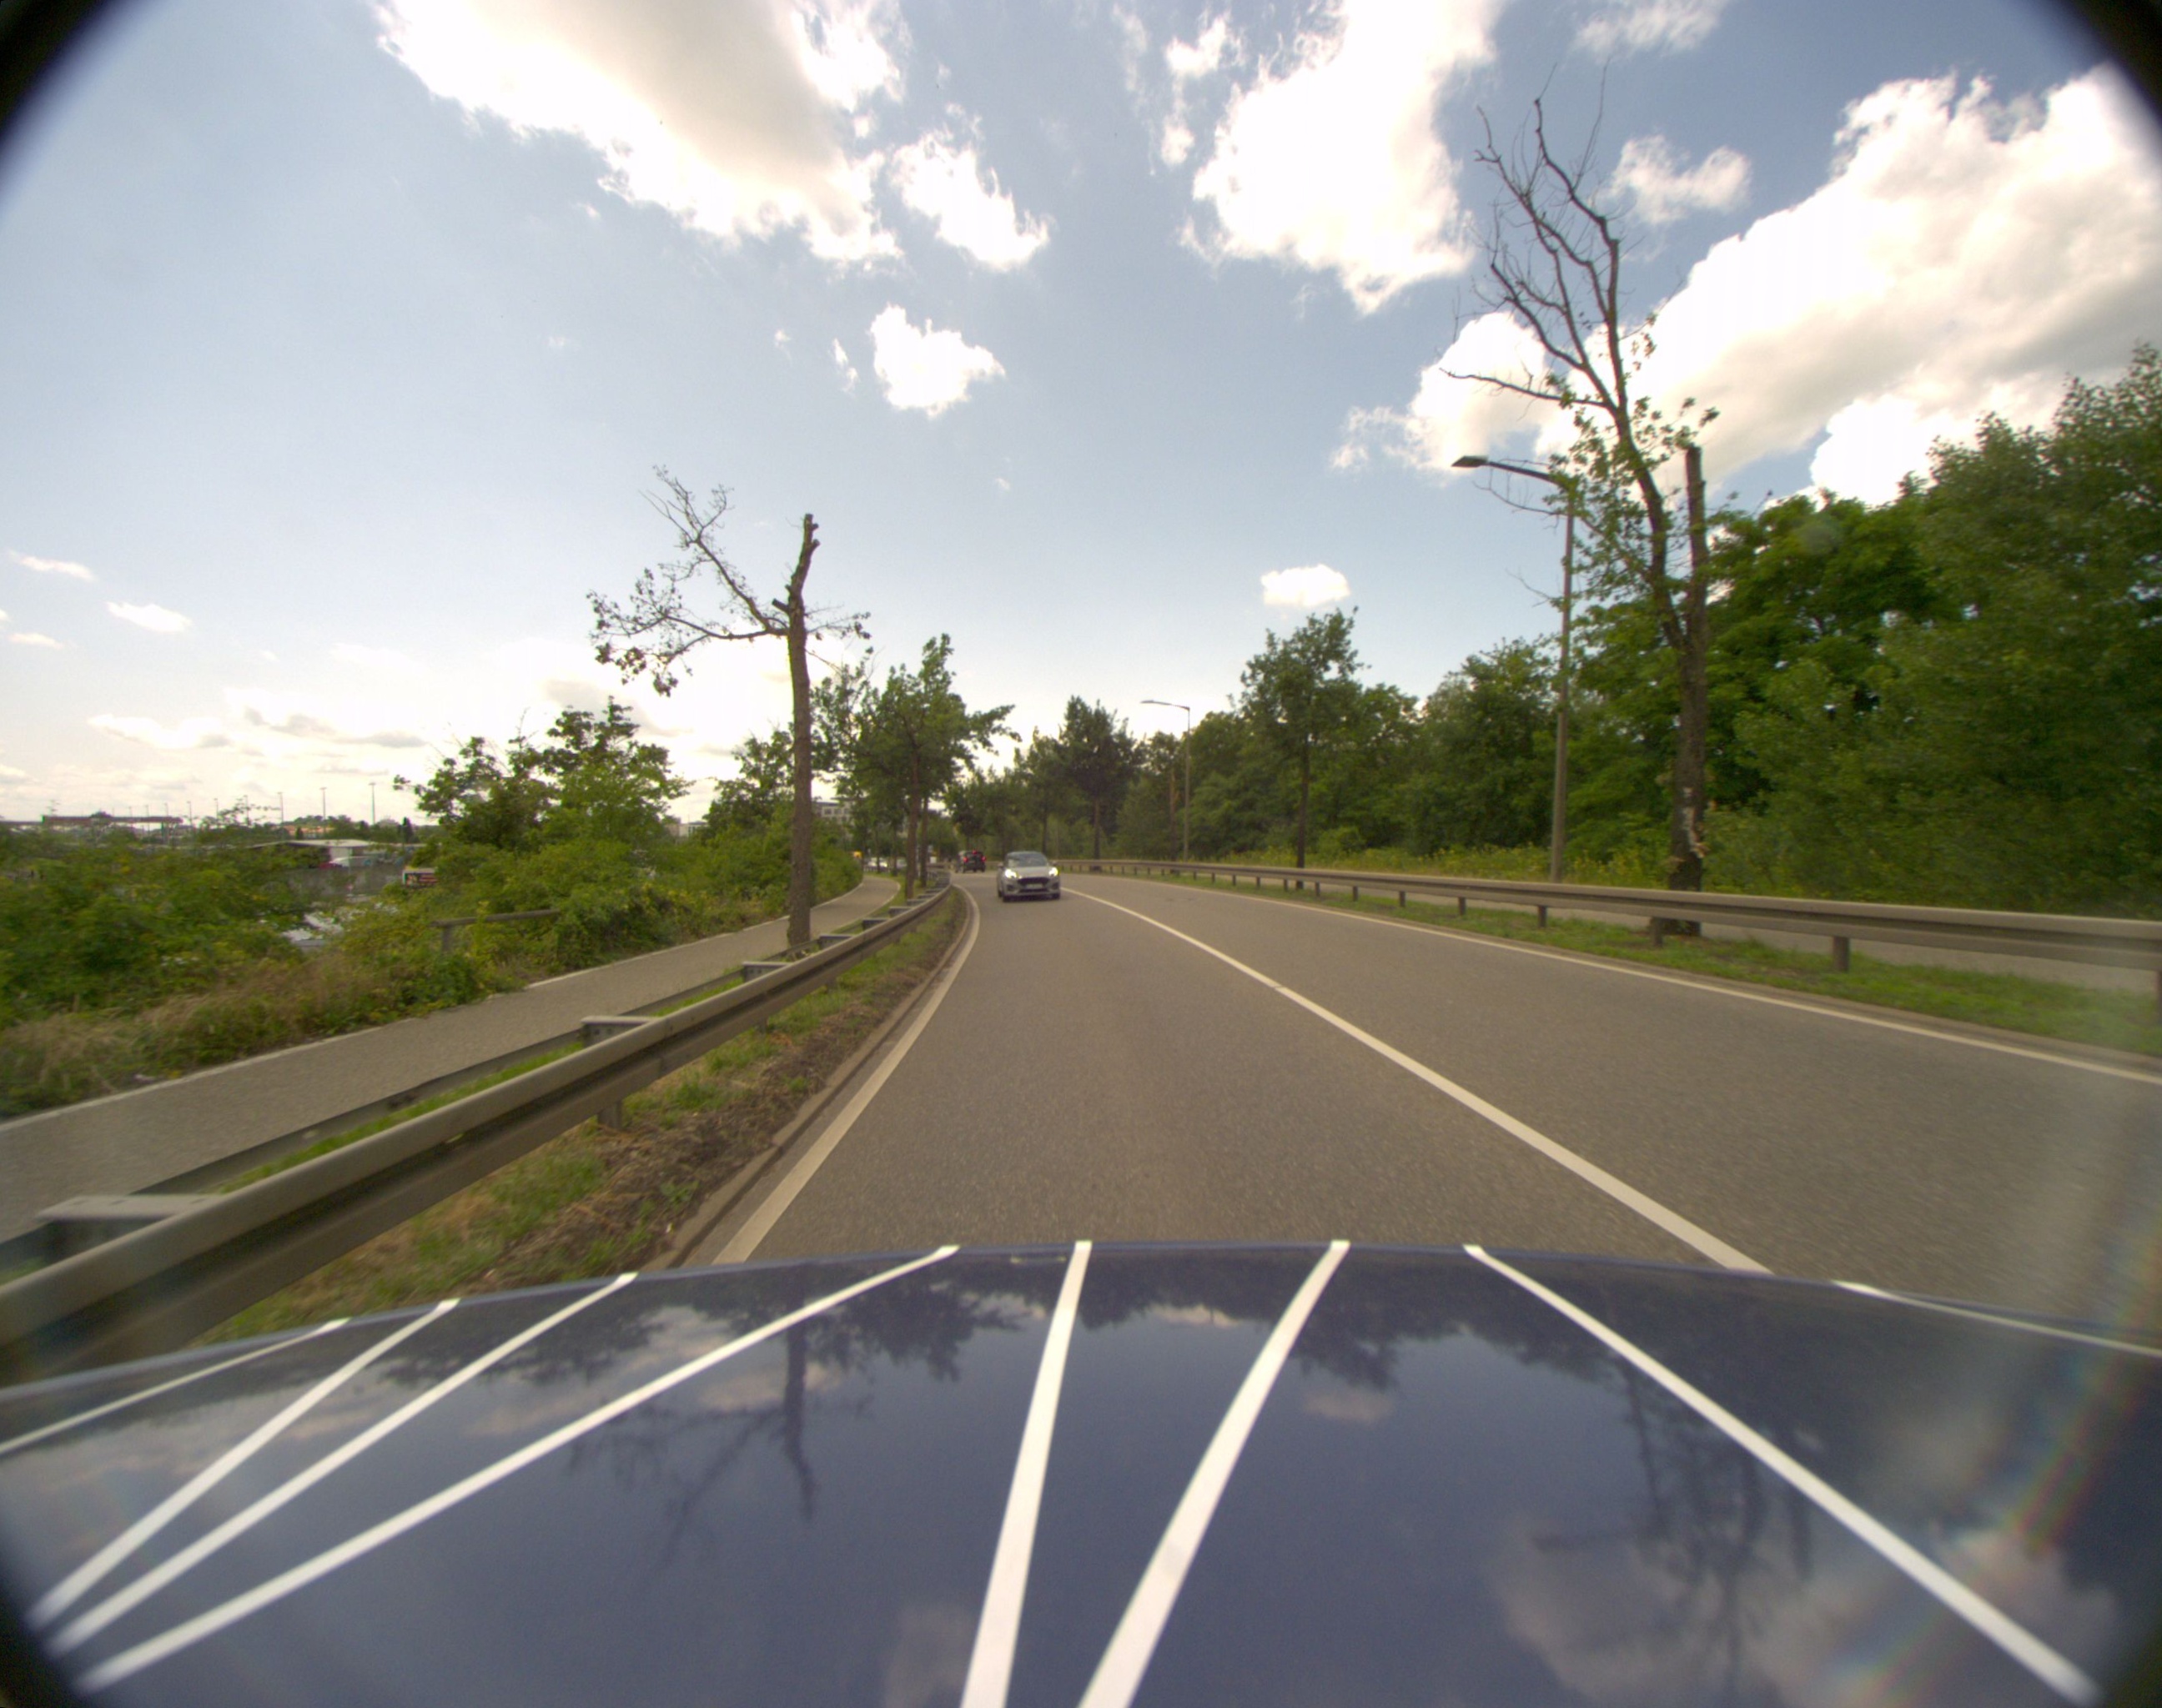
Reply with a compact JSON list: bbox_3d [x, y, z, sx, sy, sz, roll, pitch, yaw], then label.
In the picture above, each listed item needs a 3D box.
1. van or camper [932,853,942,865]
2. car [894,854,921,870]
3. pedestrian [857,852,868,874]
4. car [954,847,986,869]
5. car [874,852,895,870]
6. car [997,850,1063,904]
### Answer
[{"bbox_3d":[-34.880,1.191,184.081,2.000,2.566,5.978,3,-2,-8],"label":"van or camper"},{"bbox_3d":[-16.337,0.736,71.491,1.851,1.201,3.991,2,2,-22],"label":"car"},{"bbox_3d":[-16.638,0.686,57.828,0.660,1.632,1.052,0,0,-22],"label":"pedestrian"},{"bbox_3d":[-9.086,0.331,62.144,1.860,1.699,4.305,0,0,-19],"label":"car"},{"bbox_3d":[-23.239,0.792,89.874,2.002,2.002,3.993,2,0,-19],"label":"car"},{"bbox_3d":[-1.750,0.691,25.018,1.829,1.516,3.996,-3,1,-8],"label":"car"}]
